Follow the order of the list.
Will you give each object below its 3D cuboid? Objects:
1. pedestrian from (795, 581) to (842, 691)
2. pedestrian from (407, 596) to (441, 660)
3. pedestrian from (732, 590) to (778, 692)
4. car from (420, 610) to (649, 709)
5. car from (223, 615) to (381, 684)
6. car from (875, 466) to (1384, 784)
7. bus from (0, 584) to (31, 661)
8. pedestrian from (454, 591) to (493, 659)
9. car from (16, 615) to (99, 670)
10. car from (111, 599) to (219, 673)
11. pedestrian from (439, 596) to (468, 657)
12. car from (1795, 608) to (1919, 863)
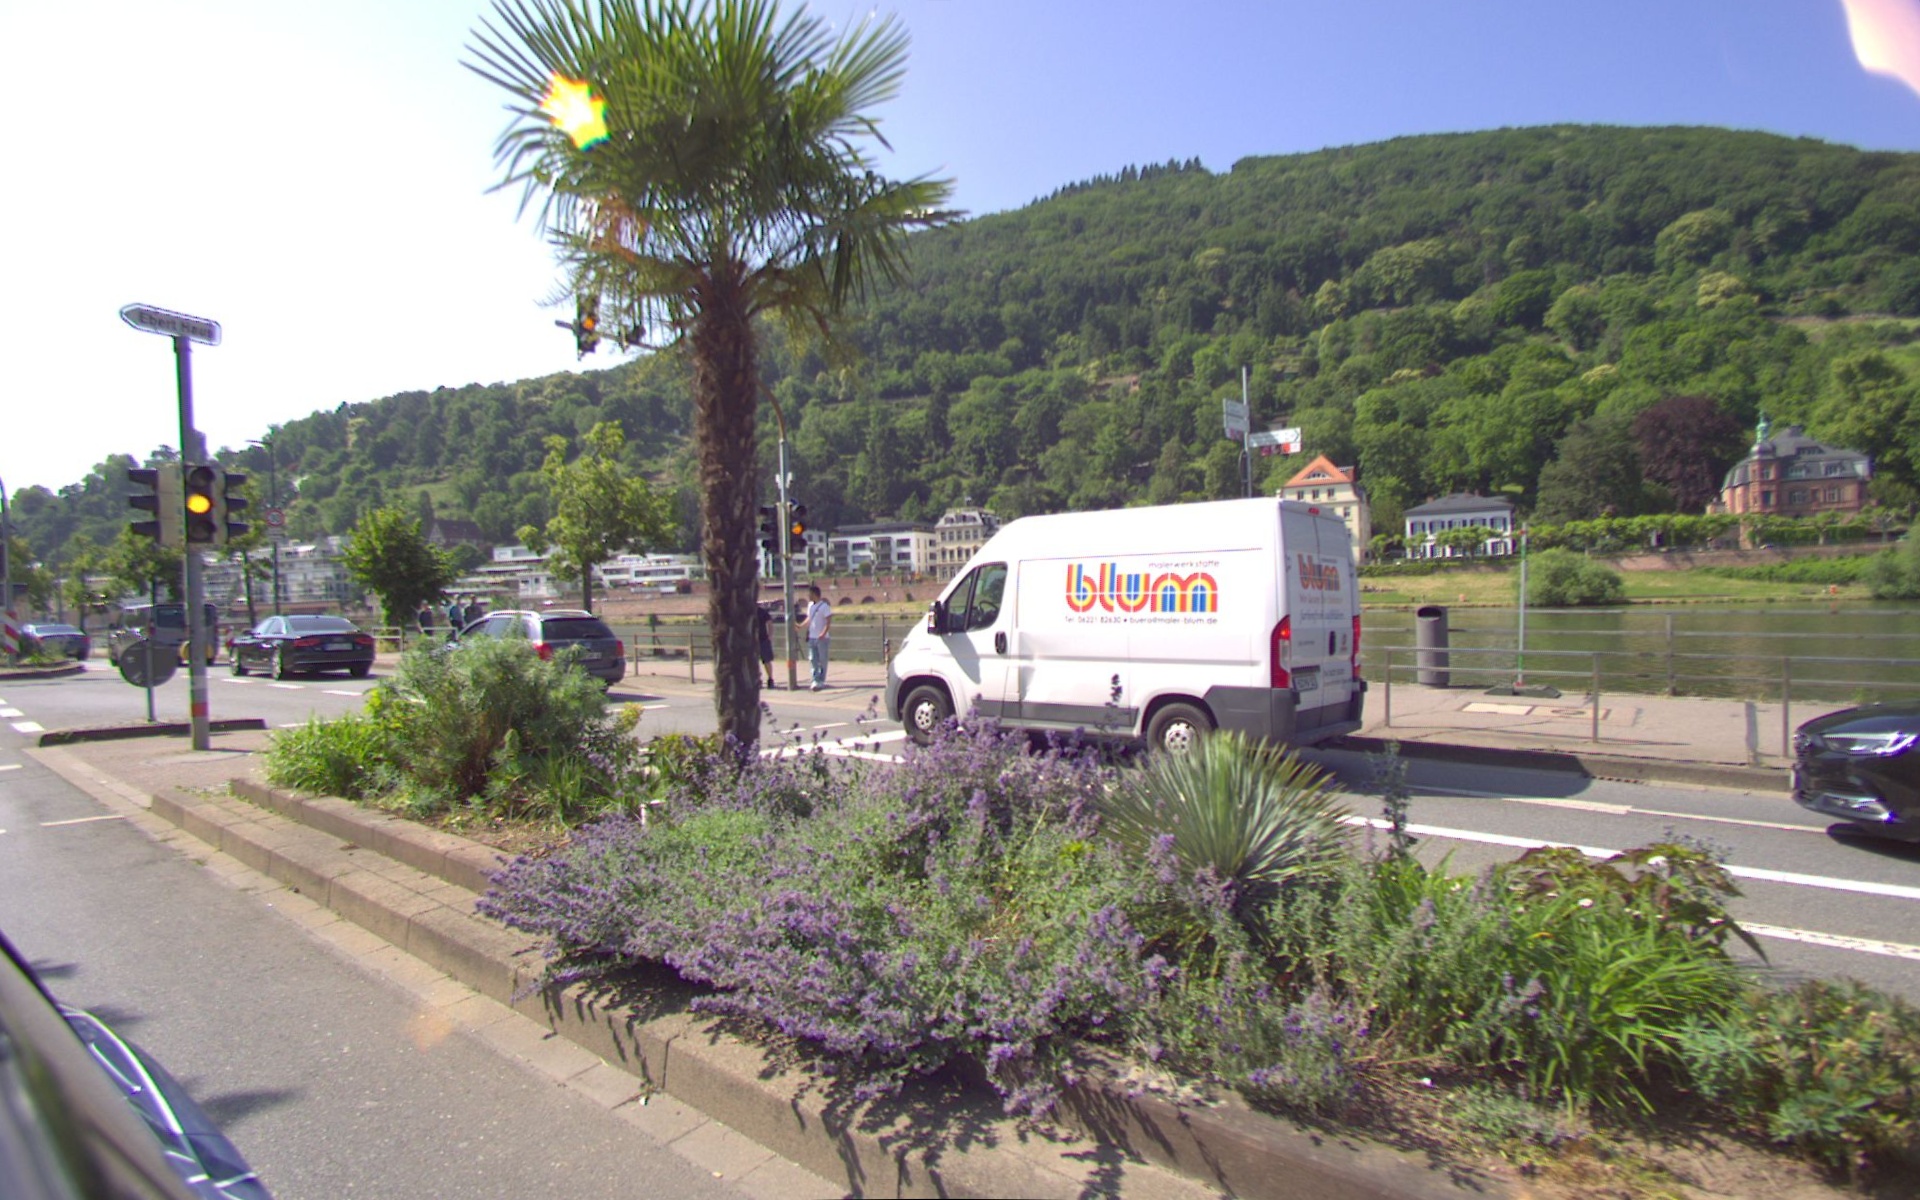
[{"bbox_3d":[-2.416,0.613,17.352,0.602,1.805,0.396,-4,4,0],"label":"pedestrian"},{"bbox_3d":[-15.247,0.789,28.782,0.779,1.765,0.586,-1,-1,37],"label":"pedestrian"},{"bbox_3d":[-3.620,0.710,17.891,0.602,1.726,0.396,-4,4,0],"label":"pedestrian"},{"bbox_3d":[-7.605,0.956,17.929,4.257,1.463,1.974,-1,1,39],"label":"car"},{"bbox_3d":[-15.760,1.100,24.149,4.641,1.469,1.973,-1,0,41],"label":"car"},{"bbox_3d":[1.596,0.253,10.448,4.744,2.545,2.173,-1,-2,39],"label":"car"},{"bbox_3d":[-47.303,1.072,47.462,10.756,3.413,2.629,-1,0,32],"label":"bus"},{"bbox_3d":[-13.566,0.697,28.247,0.579,1.870,0.785,-1,-1,37],"label":"pedestrian"},{"bbox_3d":[-35.707,1.610,40.012,3.998,2.029,1.973,-1,0,41],"label":"car"},{"bbox_3d":[-25.646,1.092,32.583,5.020,2.166,1.846,-1,0,41],"label":"car"},{"bbox_3d":[-14.757,0.766,29.497,0.502,1.765,0.586,-1,-1,37],"label":"pedestrian"},{"bbox_3d":[7.501,0.751,5.199,4.916,1.429,1.973,-1,-1,40],"label":"car"}]
